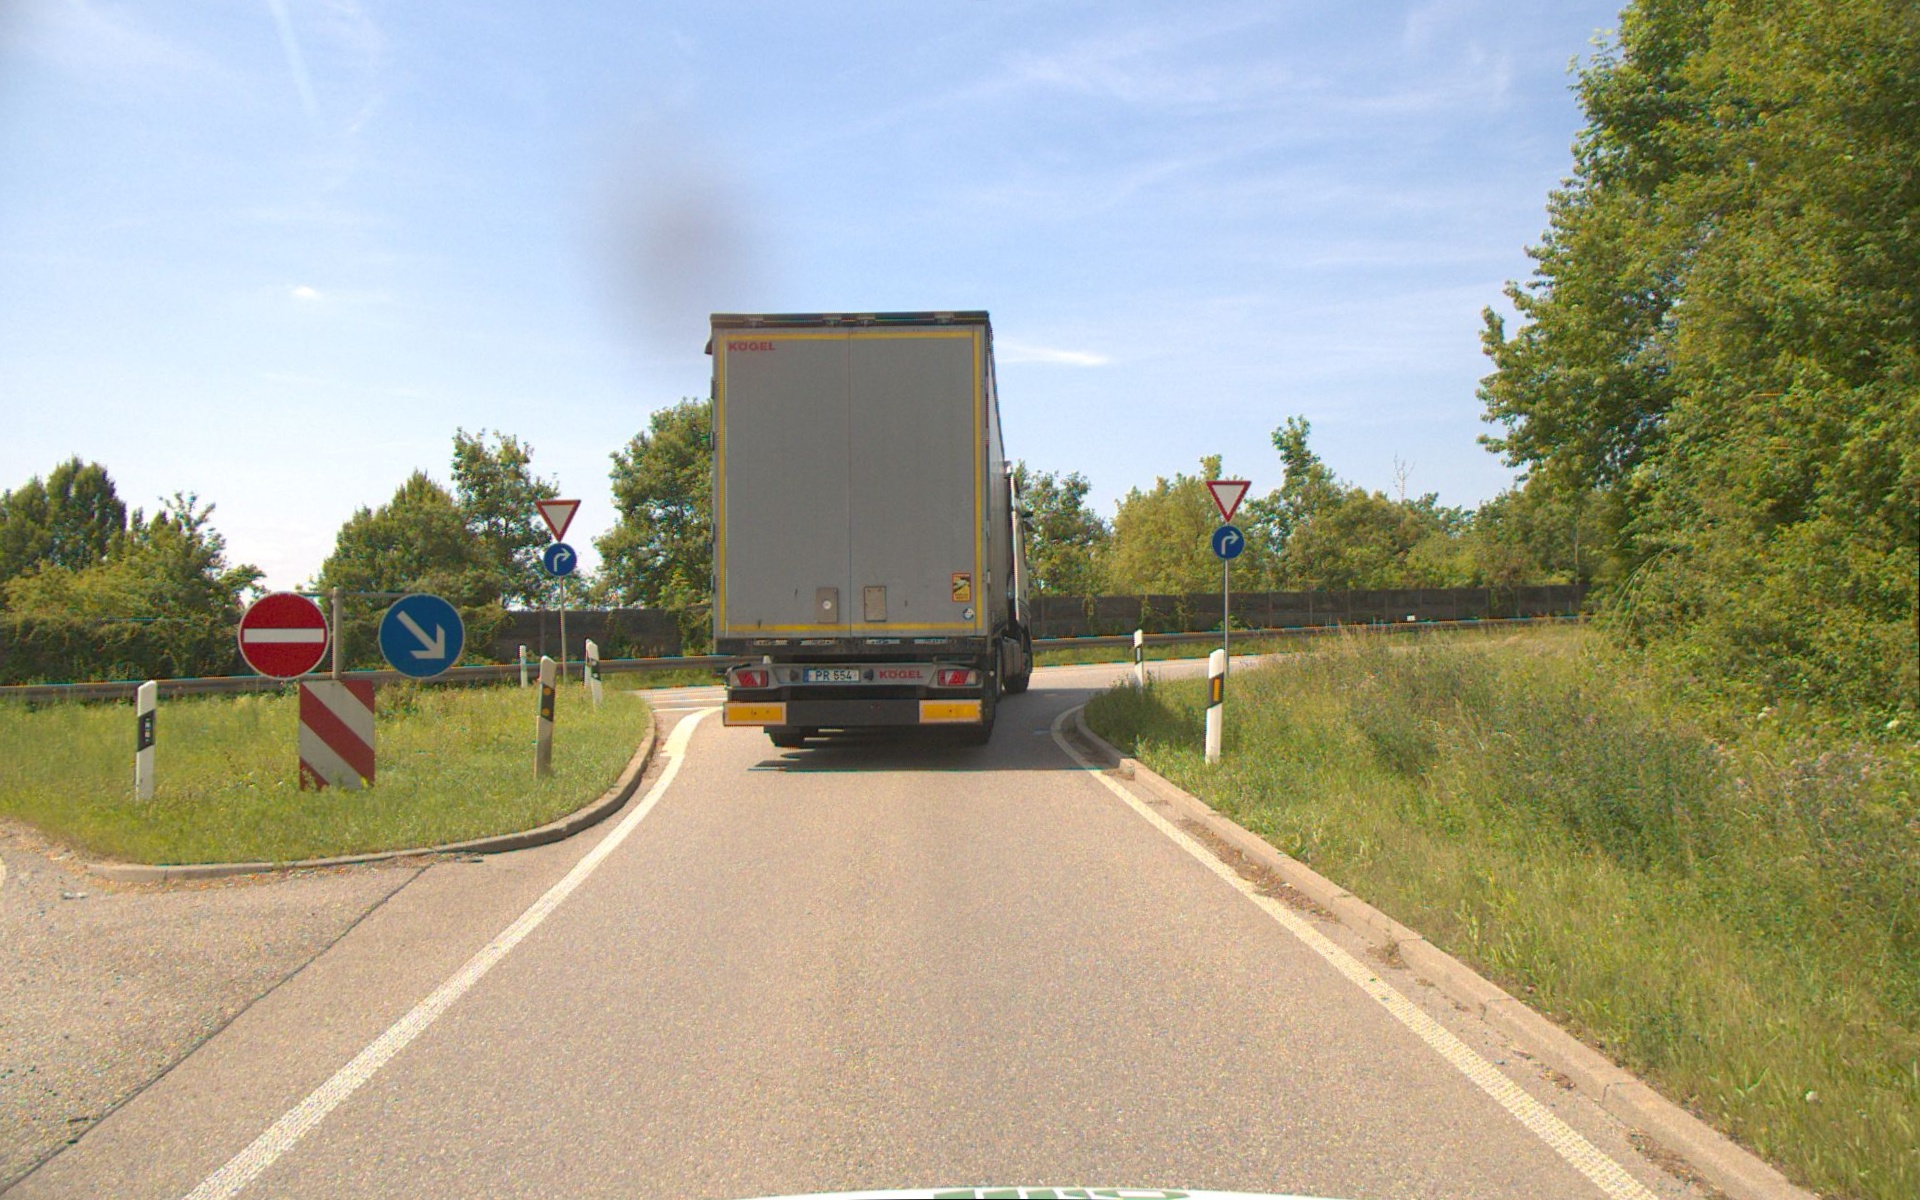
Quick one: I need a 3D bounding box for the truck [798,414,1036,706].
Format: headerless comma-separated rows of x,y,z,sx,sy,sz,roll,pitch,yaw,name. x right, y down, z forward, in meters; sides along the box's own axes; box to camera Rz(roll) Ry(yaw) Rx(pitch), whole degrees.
-0.495,-0.511,28.189,3.086,4.299,7.126,-1,-1,6,truck

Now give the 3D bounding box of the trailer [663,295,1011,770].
-0.879,-0.519,21.162,2.964,4.105,13.354,-1,-1,2,trailer
